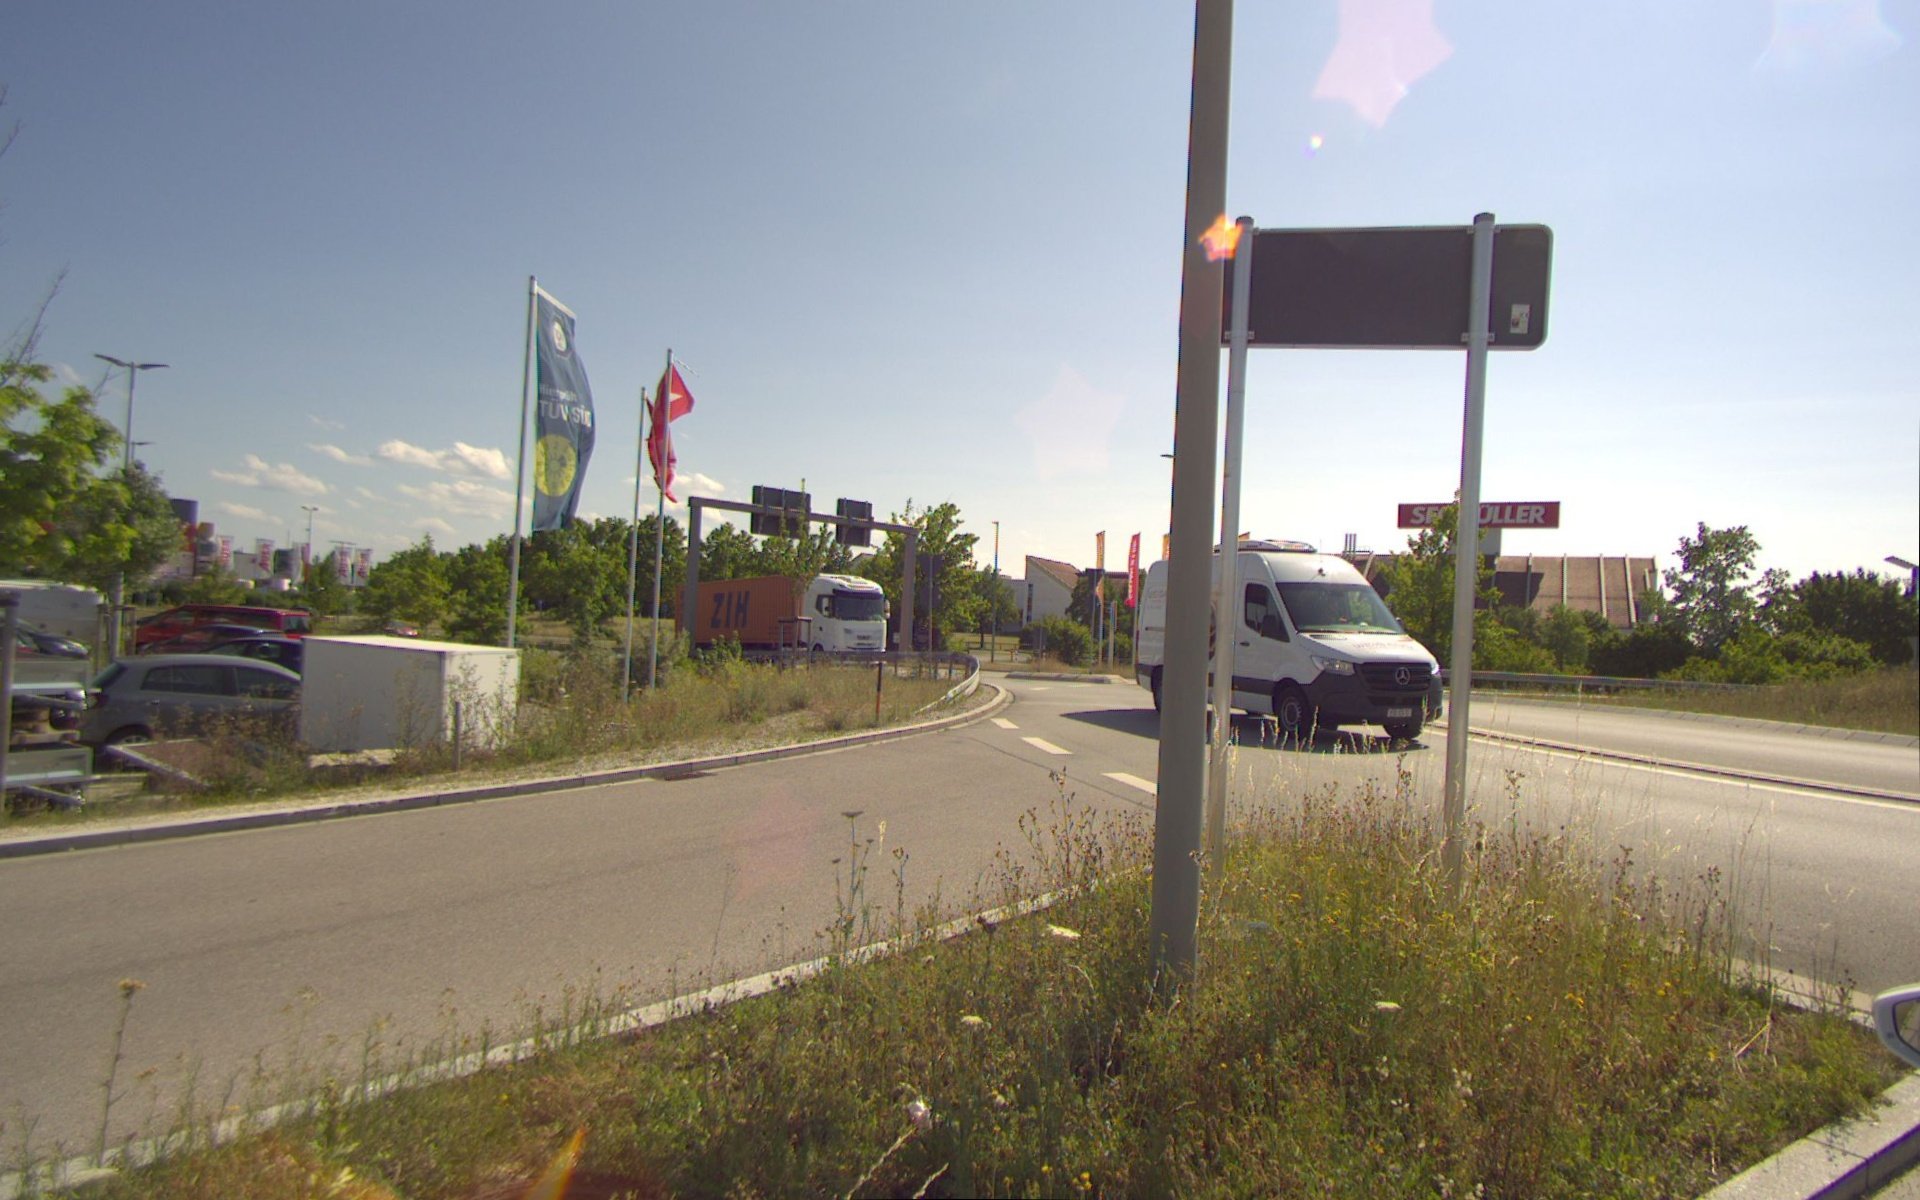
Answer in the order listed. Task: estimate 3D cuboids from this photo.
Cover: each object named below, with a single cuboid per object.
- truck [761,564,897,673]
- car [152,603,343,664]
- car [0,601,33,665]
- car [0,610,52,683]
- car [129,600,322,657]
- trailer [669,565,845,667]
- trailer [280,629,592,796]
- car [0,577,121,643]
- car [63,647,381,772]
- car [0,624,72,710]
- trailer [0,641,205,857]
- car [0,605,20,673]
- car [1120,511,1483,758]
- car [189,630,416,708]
[{"bbox_3d":[-5.550,0.698,41.705,2.640,4.161,6.364,2,-1,-38],"label":"truck"},{"bbox_3d":[-19.857,0.912,28.138,3.925,1.483,1.824,3,0,-6],"label":"car"},{"bbox_3d":[-25.039,0.740,24.023,3.963,1.483,1.806,3,0,-37],"label":"car"},{"bbox_3d":[-21.706,0.932,20.900,3.963,1.483,1.806,3,0,-37],"label":"car"},{"bbox_3d":[-22.258,0.847,30.587,4.372,1.483,1.824,3,0,-6],"label":"car"},{"bbox_3d":[-9.864,0.652,47.223,2.540,4.208,12.218,3,-1,-39],"label":"trailer"},{"bbox_3d":[-7.306,1.454,14.086,3.624,1.795,1.808,4,1,19],"label":"trailer"},{"bbox_3d":[-30.294,0.326,32.860,4.315,2.040,1.881,3,0,-41],"label":"car"},{"bbox_3d":[-11.139,1.571,15.359,3.713,1.572,1.724,3,0,-40],"label":"car"},{"bbox_3d":[-17.891,1.129,17.195,3.970,1.483,1.803,3,-3,-42],"label":"car"},{"bbox_3d":[-10.383,1.452,10.842,3.623,1.795,1.808,2,0,19],"label":"trailer"},{"bbox_3d":[-23.644,0.807,22.199,3.963,1.483,1.806,3,0,-37],"label":"car"},{"bbox_3d":[4.713,0.437,15.273,2.050,2.960,6.119,2,0,-15],"label":"car"},{"bbox_3d":[-15.217,1.598,23.452,3.926,1.483,1.824,4,-2,-6],"label":"car"}]
